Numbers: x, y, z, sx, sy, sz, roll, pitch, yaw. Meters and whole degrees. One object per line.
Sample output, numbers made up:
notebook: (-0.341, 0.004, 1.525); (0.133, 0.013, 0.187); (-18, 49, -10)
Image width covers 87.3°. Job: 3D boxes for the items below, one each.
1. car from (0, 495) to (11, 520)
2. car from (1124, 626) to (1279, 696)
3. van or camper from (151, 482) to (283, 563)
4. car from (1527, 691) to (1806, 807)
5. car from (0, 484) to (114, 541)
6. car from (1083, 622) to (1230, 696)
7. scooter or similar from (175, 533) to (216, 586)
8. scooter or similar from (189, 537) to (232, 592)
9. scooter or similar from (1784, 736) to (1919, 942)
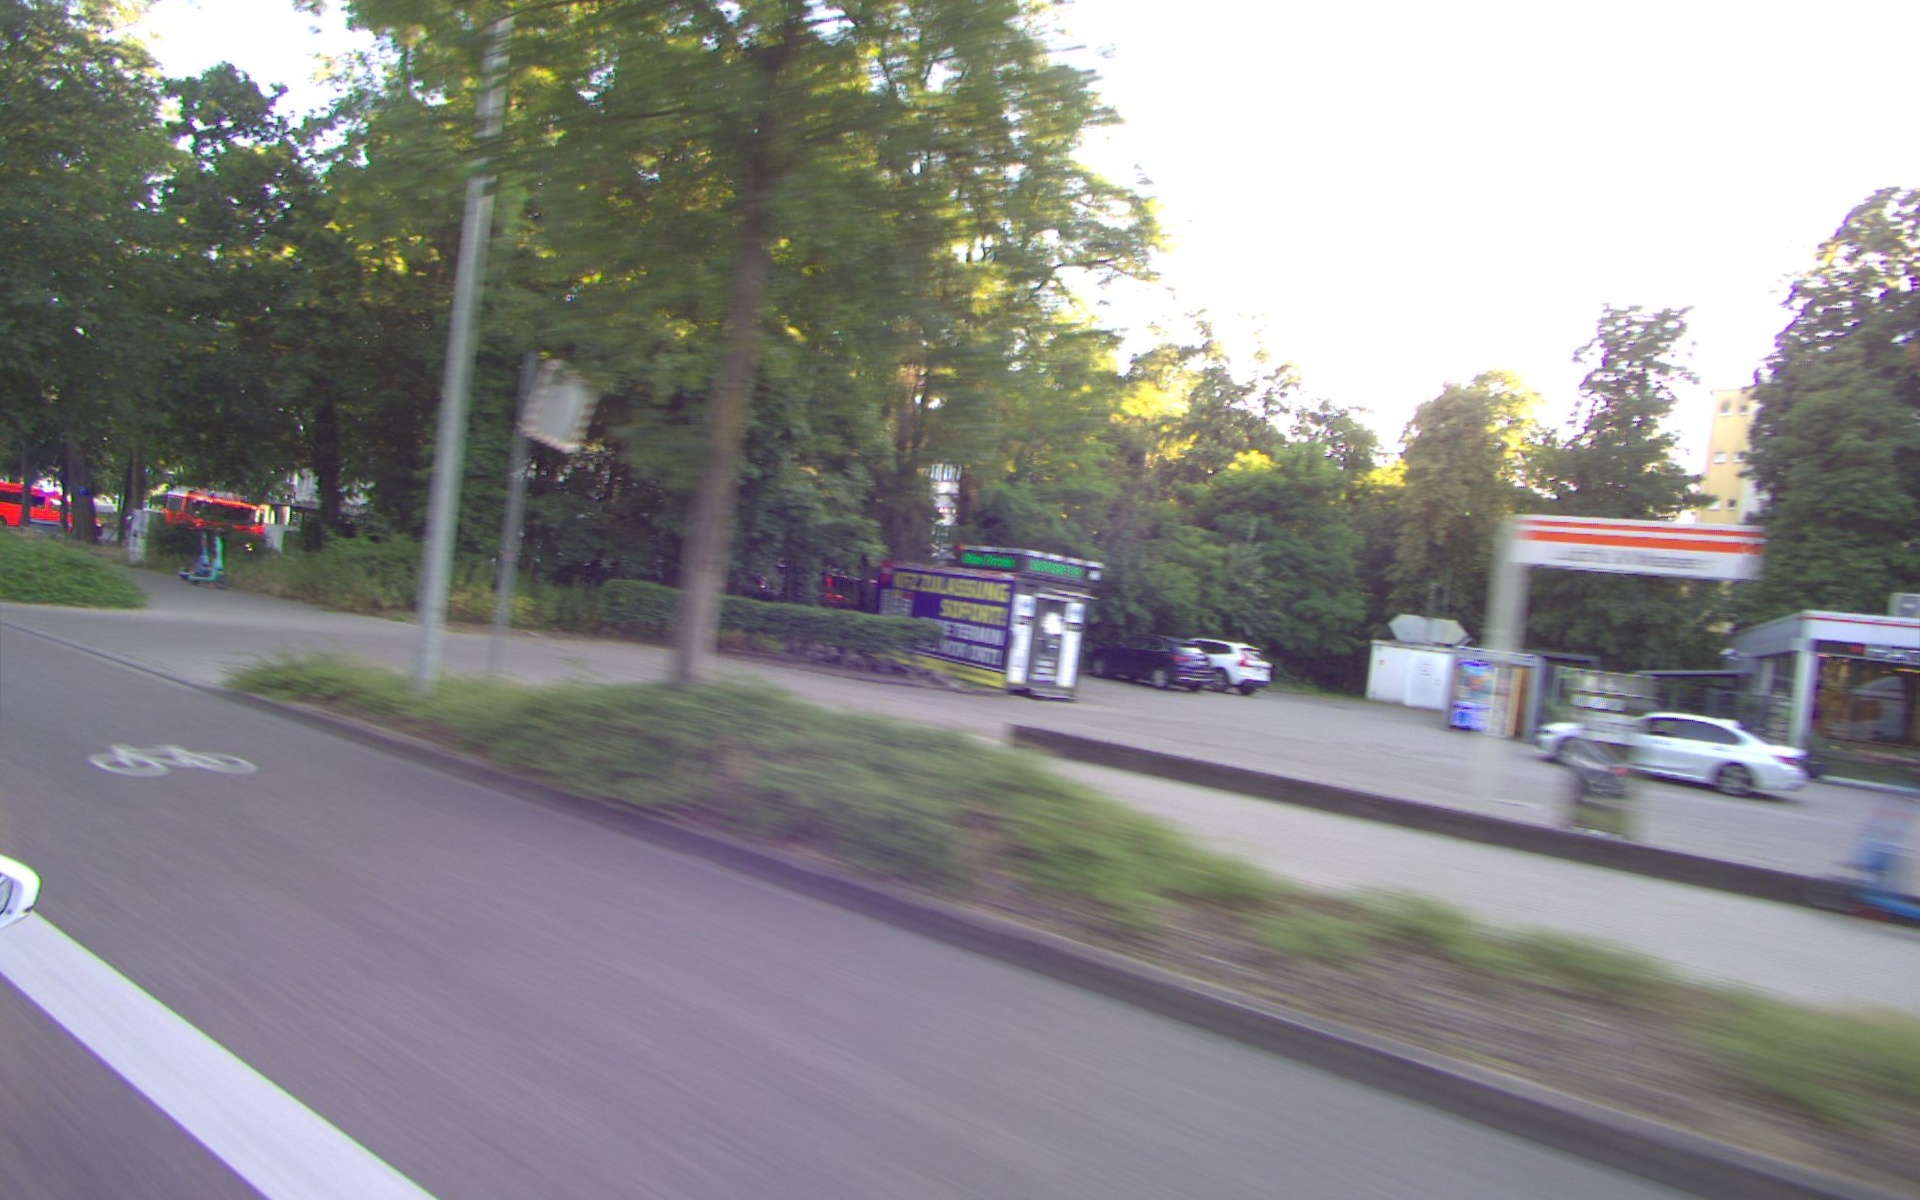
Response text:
car: (-64.904, -6.346, 65.887); (1.690, 1.609, 3.771); (7, -1, 39)
car: (8.031, 2.021, 33.790); (1.911, 1.729, 4.638); (5, 2, -44)
van or camper: (-37.595, -3.973, 50.772); (8.117, 3.235, 3.436); (6, -3, 42)
car: (14.988, 3.061, 21.515); (4.631, 1.538, 1.783); (7, 2, 41)
car: (-43.232, -4.158, 47.273); (1.894, 2.014, 4.908); (7, -1, 39)
car: (6.116, 1.825, 31.705); (1.877, 1.659, 4.239); (5, 3, -38)
scooter or similar: (-16.811, -0.897, 22.120); (0.964, 1.054, 0.310); (7, 0, 32)
scooter or similar: (-15.702, -0.743, 21.065); (0.964, 1.054, 0.310); (7, 0, 32)
scooter or similar: (6.915, 1.745, 7.147); (1.444, 1.298, 0.598); (7, 0, 32)
